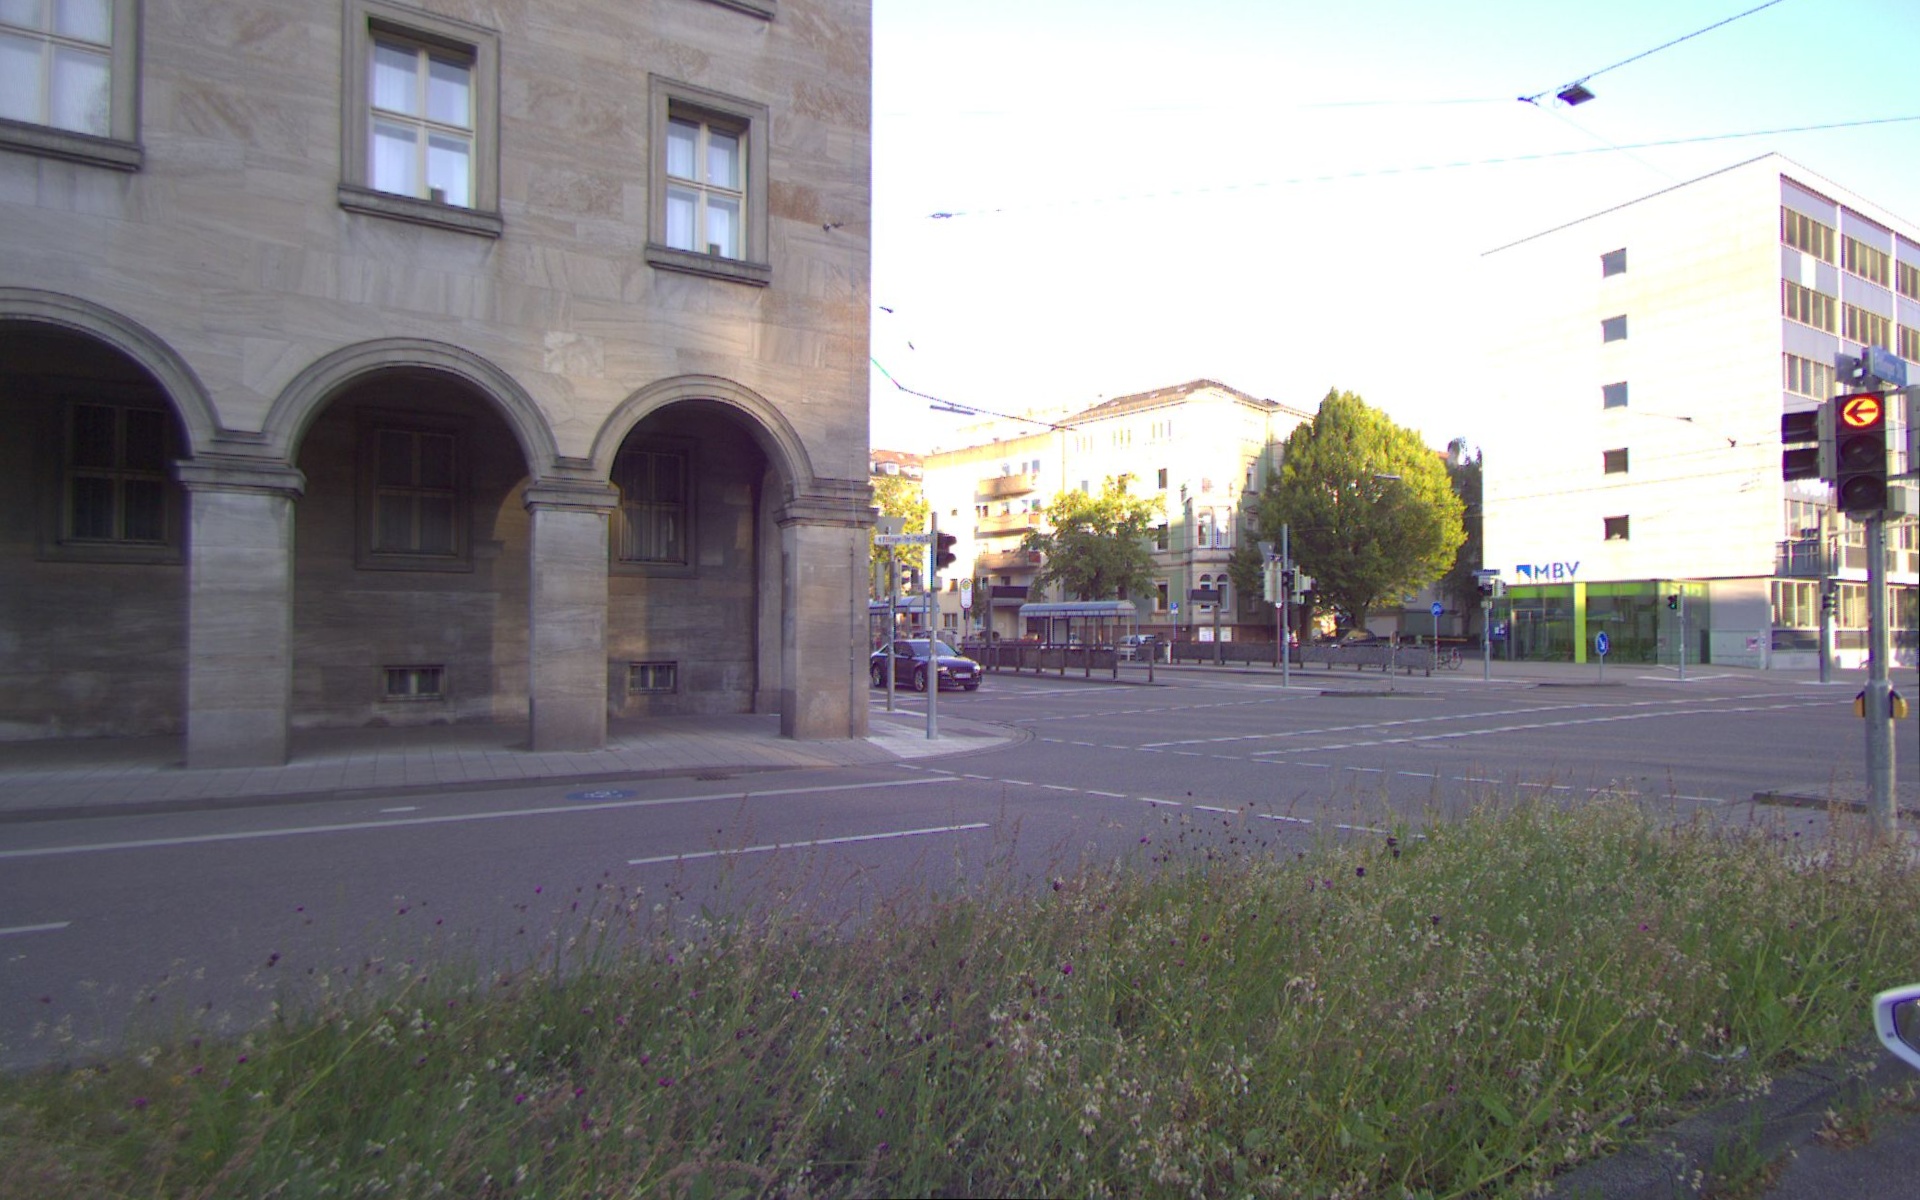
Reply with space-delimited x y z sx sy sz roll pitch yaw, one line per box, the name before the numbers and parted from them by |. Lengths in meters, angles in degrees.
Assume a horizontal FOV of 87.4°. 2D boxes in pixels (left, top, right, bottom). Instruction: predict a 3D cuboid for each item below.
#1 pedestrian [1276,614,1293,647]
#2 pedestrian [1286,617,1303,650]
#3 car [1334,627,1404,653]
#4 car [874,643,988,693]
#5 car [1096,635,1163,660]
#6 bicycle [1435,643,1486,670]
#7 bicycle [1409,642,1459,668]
pedestrian | 17.869 1.693 55.322 0.718 1.813 0.634 2 -2 -44
pedestrian | 18.531 1.845 55.678 0.718 1.813 0.634 2 -2 -43
car | 22.347 2.185 54.854 3.553 1.390 1.826 1 -2 -32
car | -0.938 1.951 29.715 1.791 1.344 4.120 1 -2 -27
car | 9.983 2.776 59.234 3.545 1.390 1.830 -2 -3 45
bicycle | 21.662 2.445 43.464 2.183 1.127 0.834 1 -2 -26
bicycle | 21.053 2.412 44.606 2.183 1.127 0.834 1 -2 -26
